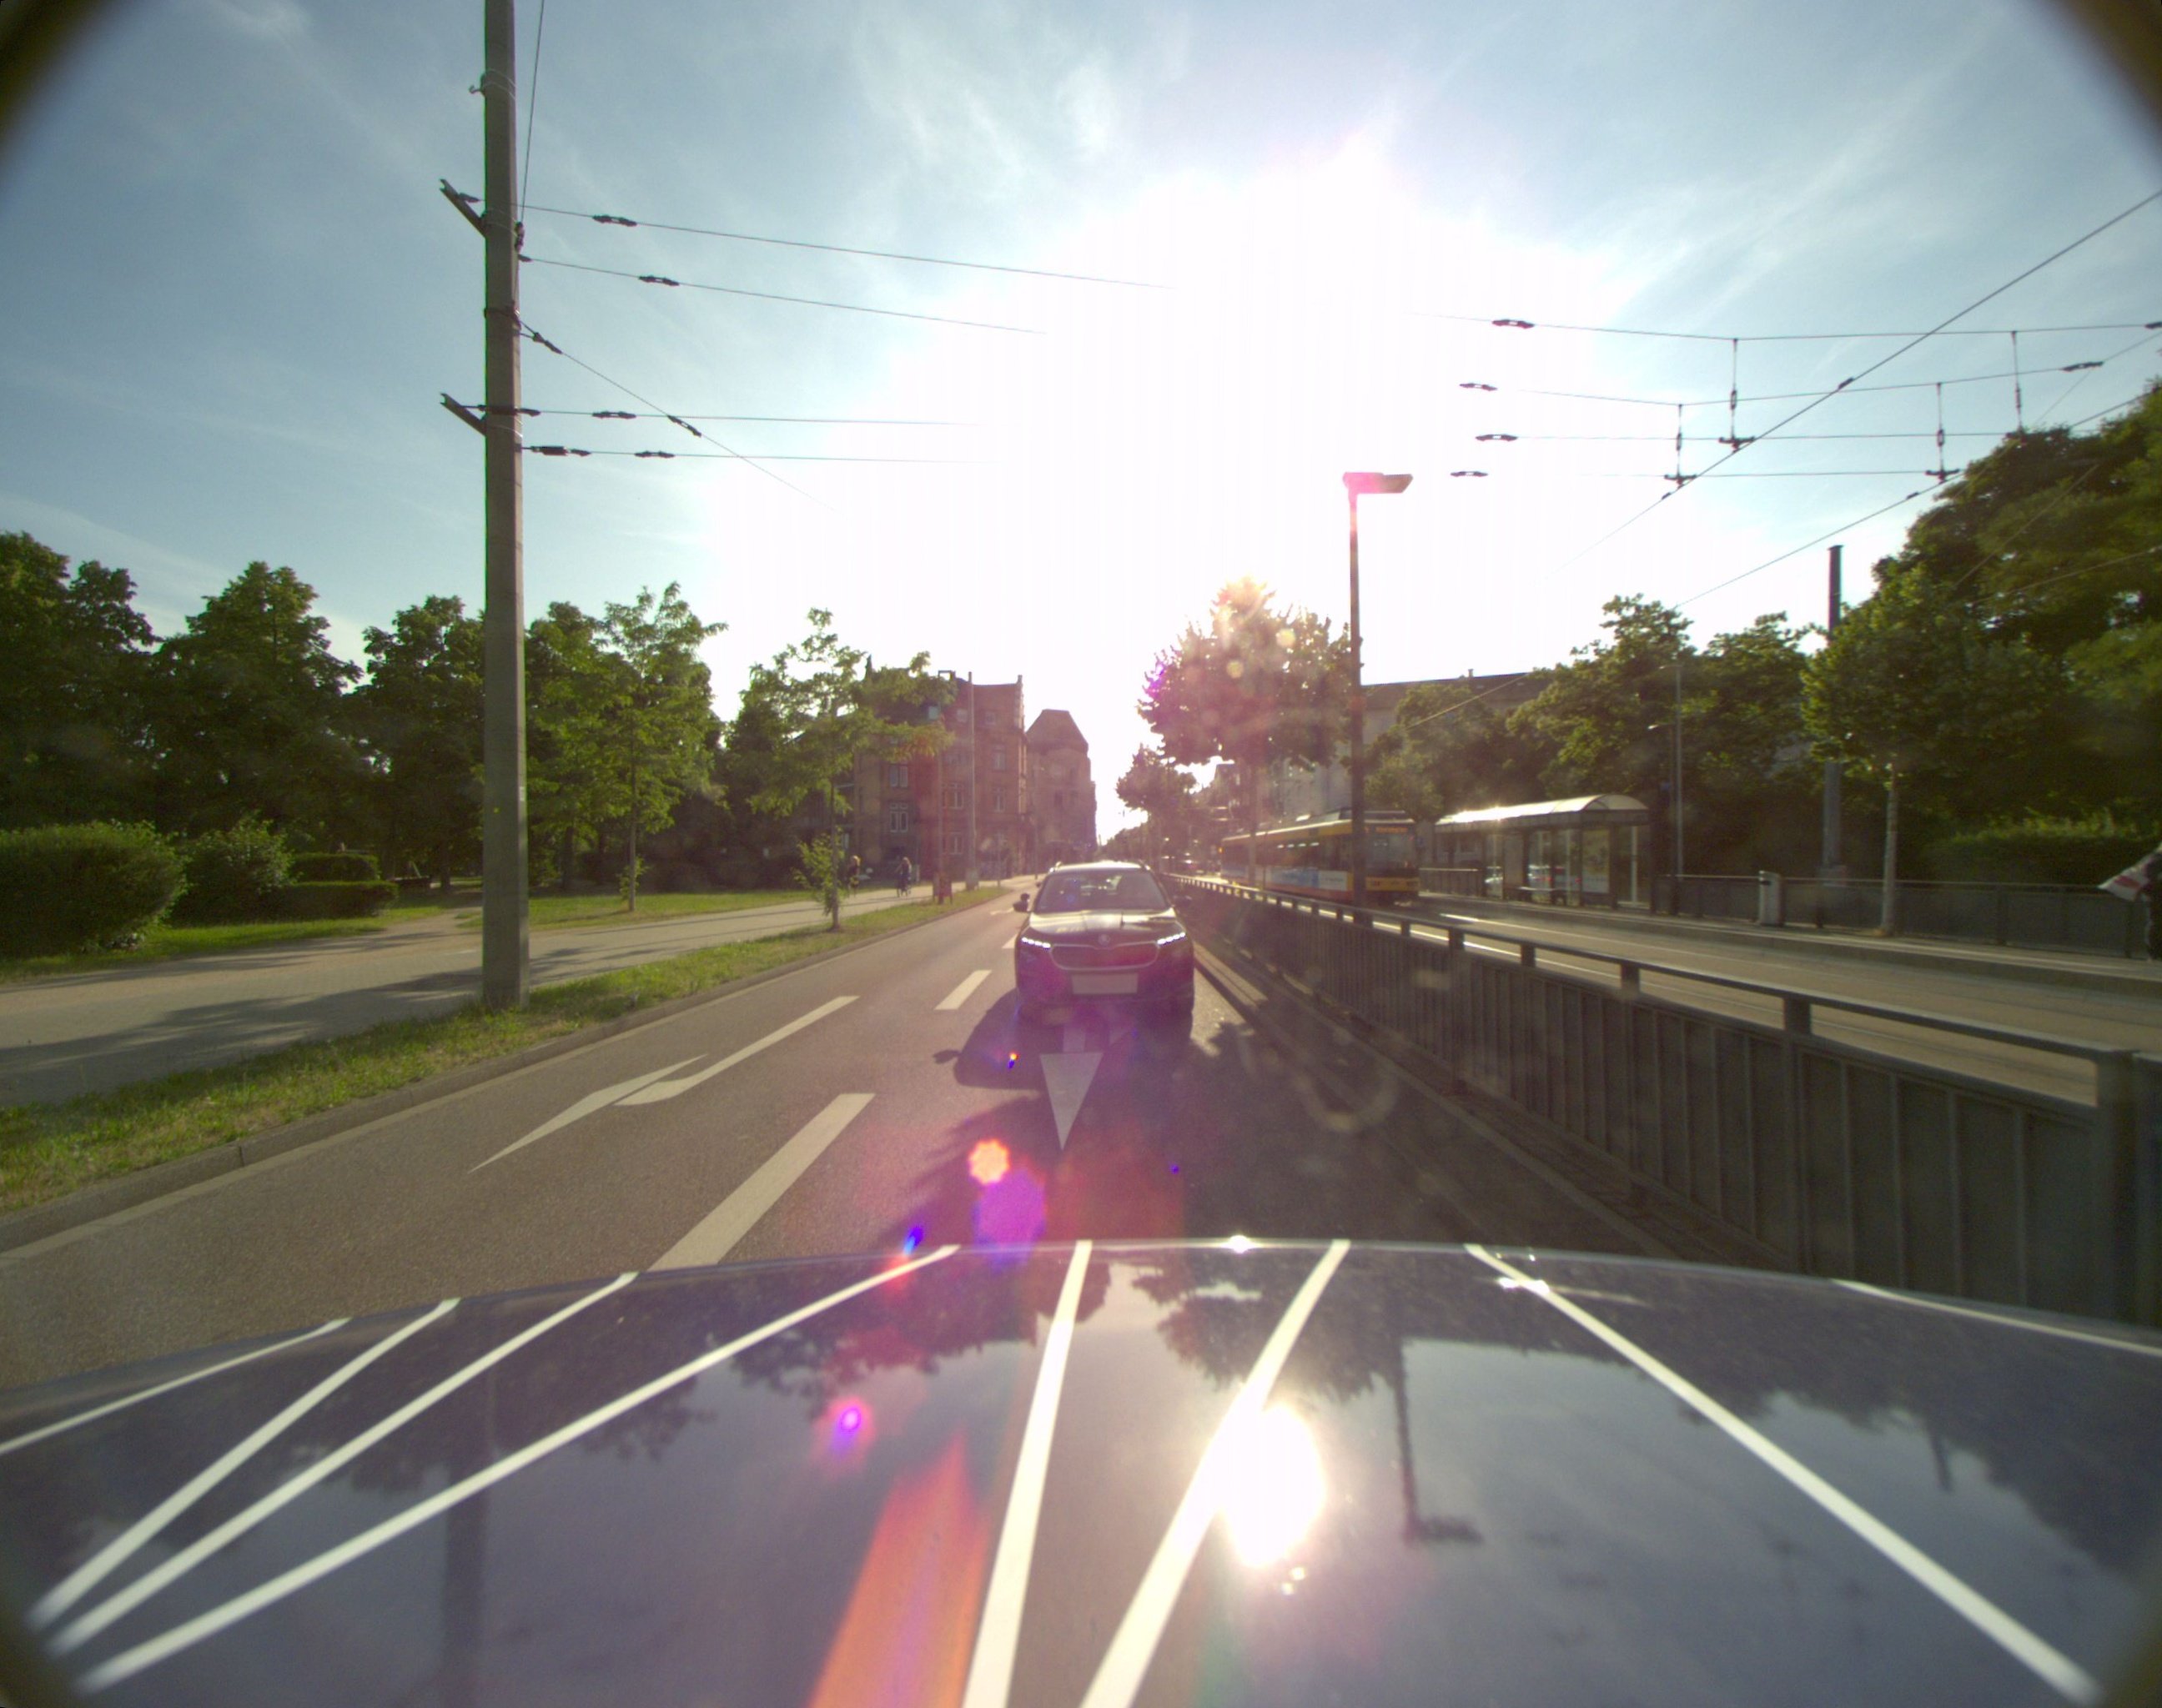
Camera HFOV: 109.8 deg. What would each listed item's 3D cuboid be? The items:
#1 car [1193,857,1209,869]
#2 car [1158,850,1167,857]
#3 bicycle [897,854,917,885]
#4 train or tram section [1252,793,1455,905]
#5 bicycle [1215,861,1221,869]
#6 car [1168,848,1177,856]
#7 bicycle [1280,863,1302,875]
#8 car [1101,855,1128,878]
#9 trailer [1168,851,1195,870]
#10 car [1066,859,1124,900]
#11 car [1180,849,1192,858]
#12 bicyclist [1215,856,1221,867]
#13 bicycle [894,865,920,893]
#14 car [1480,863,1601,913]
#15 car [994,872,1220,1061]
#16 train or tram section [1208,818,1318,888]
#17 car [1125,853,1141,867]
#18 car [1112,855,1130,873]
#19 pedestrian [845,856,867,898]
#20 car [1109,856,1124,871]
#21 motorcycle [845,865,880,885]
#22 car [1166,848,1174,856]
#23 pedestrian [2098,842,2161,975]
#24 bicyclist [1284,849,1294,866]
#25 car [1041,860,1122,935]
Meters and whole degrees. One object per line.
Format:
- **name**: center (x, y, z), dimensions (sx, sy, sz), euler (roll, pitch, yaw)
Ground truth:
- **car**: center (20.981, 1.546, 132.953), dimensions (2.170, 1.890, 4.612), euler (-1, 0, 4)
- **car**: center (23.764, -0.119, 221.348), dimensions (1.998, 2.002, 4.000), euler (-1, 0, 1)
- **bicycle**: center (-7.525, 0.665, 32.876), dimensions (0.574, 1.290, 0.689), euler (-1, 0, 15)
- **train or tram section**: center (10.183, -0.092, 31.043), dimensions (3.169, 3.459, 14.473), euler (-1, 0, 1)
- **bicycle**: center (17.891, 1.391, 98.998), dimensions (0.543, 1.012, 2.251), euler (-1, 0, 5)
- **car**: center (23.727, -0.586, 197.441), dimensions (1.998, 2.002, 4.002), euler (-1, 0, 5)
- **bicycle**: center (19.497, 1.350, 70.642), dimensions (1.912, 1.104, 0.736), euler (0, 0, 22)
- **car**: center (2.553, 0.930, 58.993), dimensions (1.998, 1.772, 4.000), euler (0, 0, 1)
- **trailer**: center (12.463, 0.804, 94.389), dimensions (2.858, 2.377, 1.726), euler (-1, 0, 33)
- **car**: center (0.654, 1.001, 31.522), dimensions (1.997, 1.564, 4.002), euler (-1, 0, 6)
- **car**: center (23.000, -0.076, 166.457), dimensions (1.998, 2.002, 4.001), euler (-1, 0, 2)
- **bicyclist**: center (17.854, 0.964, 99.198), dimensions (0.652, 1.405, 0.717), euler (-1, 0, 4)
- **bicycle**: center (-7.515, 1.068, 32.909), dimensions (0.484, 1.183, 1.341), euler (-1, 0, 15)
- **car**: center (16.790, 1.189, 28.021), dimensions (1.998, 1.674, 4.000), euler (-1, 0, 0)
- **car**: center (0.327, 0.968, 8.217), dimensions (1.839, 1.472, 4.001), euler (0, 0, 3)
- **train or tram section**: center (10.384, 0.021, 45.470), dimensions (3.169, 3.459, 14.533), euler (-1, 0, 1)
- **car**: center (7.591, 0.809, 111.924), dimensions (1.999, 2.002, 3.999), euler (0, 0, -1)
- **car**: center (4.532, 1.121, 86.739), dimensions (1.998, 2.002, 4.000), euler (0, 0, 1)
- **pedestrian**: center (-9.249, 0.941, 31.252), dimensions (0.616, 1.682, 0.549), euler (4, 1, 5)
- **car**: center (5.059, 1.329, 107.847), dimensions (1.998, 2.002, 4.000), euler (0, 0, 1)
- **motorcycle**: center (-13.493, 1.285, 46.967), dimensions (2.002, 1.153, 0.708), euler (-1, 0, -4)
- **car**: center (24.549, -0.595, 208.588), dimensions (1.998, 2.002, 4.002), euler (-1, 0, 5)
- **pedestrian**: center (13.608, 0.668, 9.509), dimensions (0.666, 1.632, 0.863), euler (-1, 0, -15)
- **bicyclist**: center (19.370, 0.324, 70.632), dimensions (0.771, 1.632, 0.796), euler (0, 0, 23)
- **car**: center (0.053, 1.114, 21.088), dimensions (1.998, 1.827, 4.000), euler (-1, 0, 1)
